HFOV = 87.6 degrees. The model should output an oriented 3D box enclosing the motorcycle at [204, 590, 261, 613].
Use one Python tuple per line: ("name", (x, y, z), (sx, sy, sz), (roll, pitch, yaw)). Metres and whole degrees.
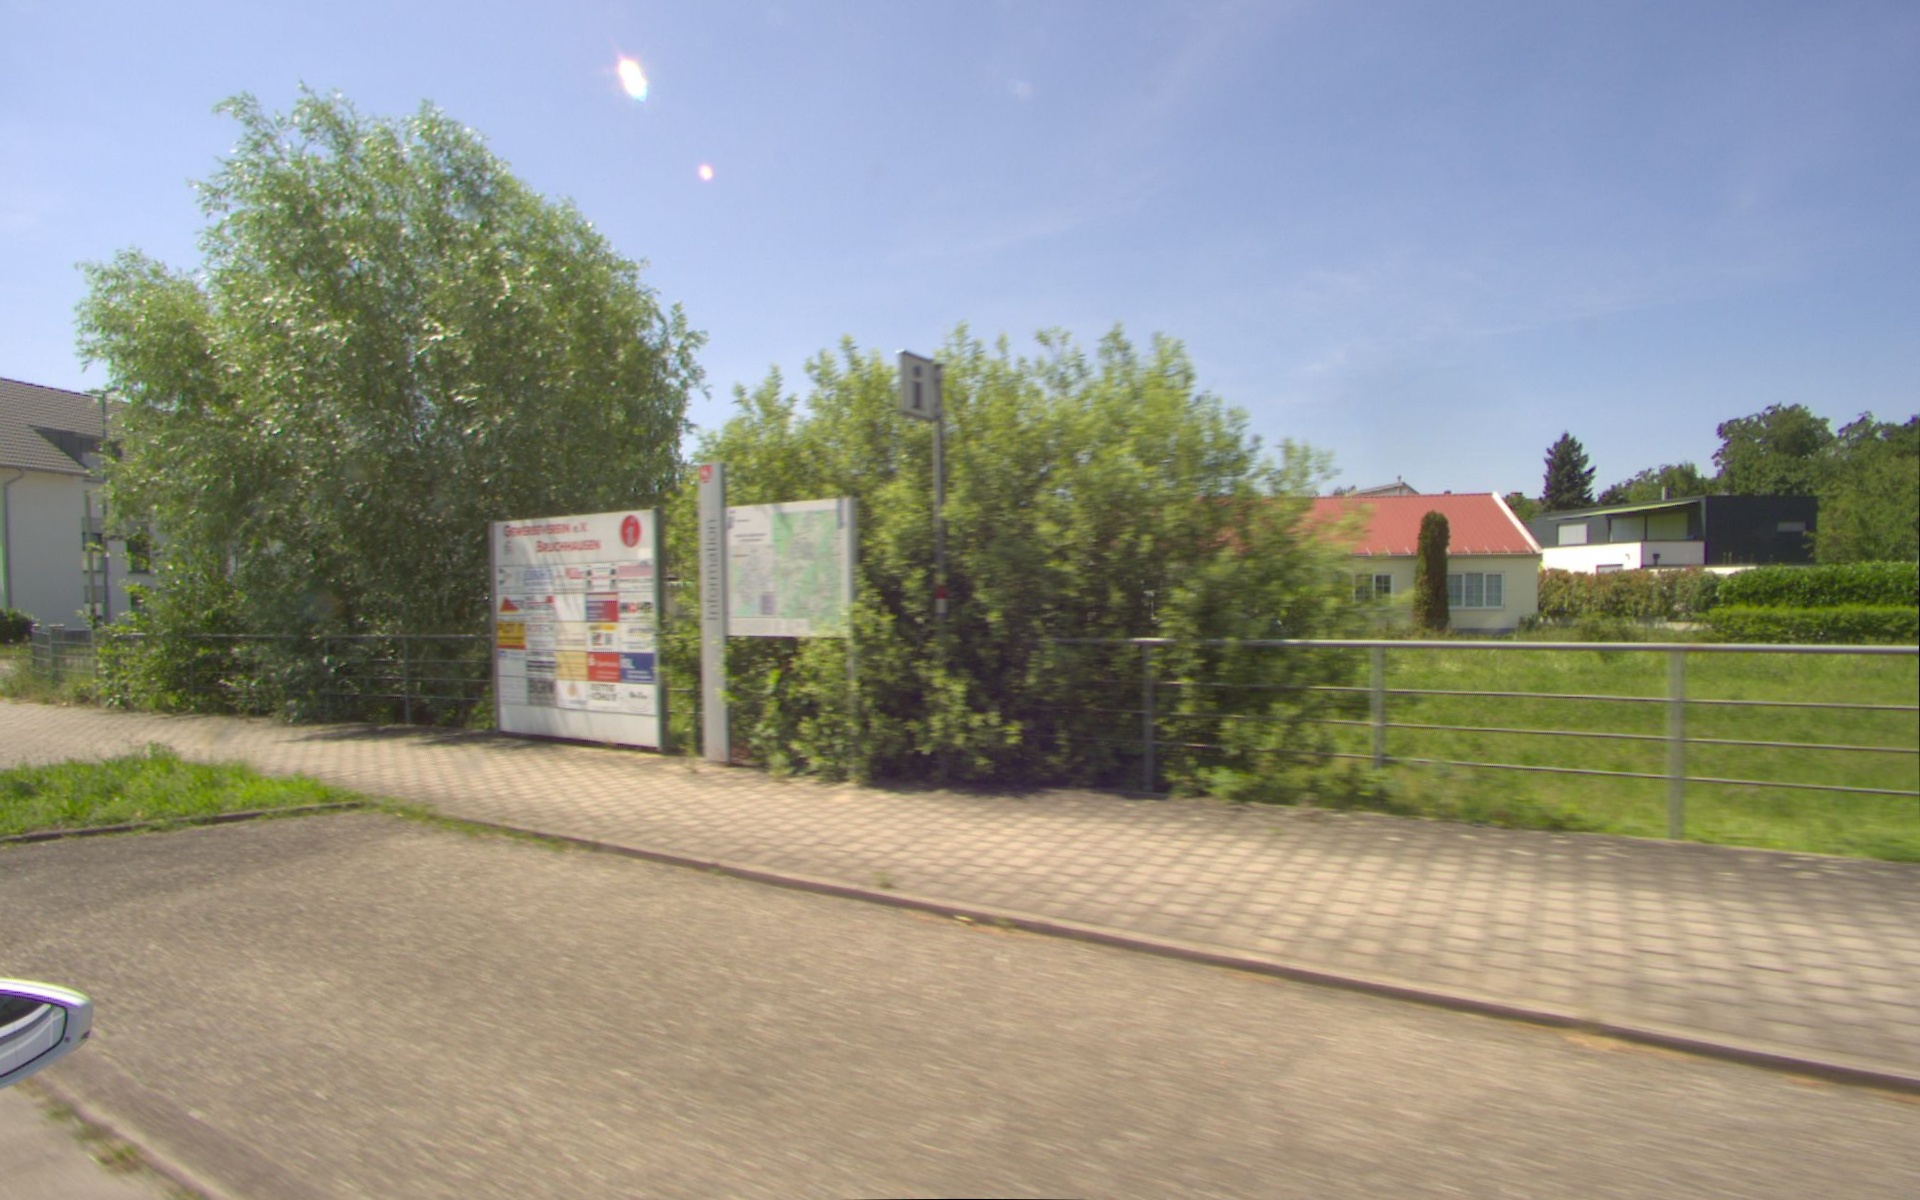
("motorcycle", (-32.669, 0.066, 44.971), (2.324, 1.026, 0.671), (0, -1, 11))
